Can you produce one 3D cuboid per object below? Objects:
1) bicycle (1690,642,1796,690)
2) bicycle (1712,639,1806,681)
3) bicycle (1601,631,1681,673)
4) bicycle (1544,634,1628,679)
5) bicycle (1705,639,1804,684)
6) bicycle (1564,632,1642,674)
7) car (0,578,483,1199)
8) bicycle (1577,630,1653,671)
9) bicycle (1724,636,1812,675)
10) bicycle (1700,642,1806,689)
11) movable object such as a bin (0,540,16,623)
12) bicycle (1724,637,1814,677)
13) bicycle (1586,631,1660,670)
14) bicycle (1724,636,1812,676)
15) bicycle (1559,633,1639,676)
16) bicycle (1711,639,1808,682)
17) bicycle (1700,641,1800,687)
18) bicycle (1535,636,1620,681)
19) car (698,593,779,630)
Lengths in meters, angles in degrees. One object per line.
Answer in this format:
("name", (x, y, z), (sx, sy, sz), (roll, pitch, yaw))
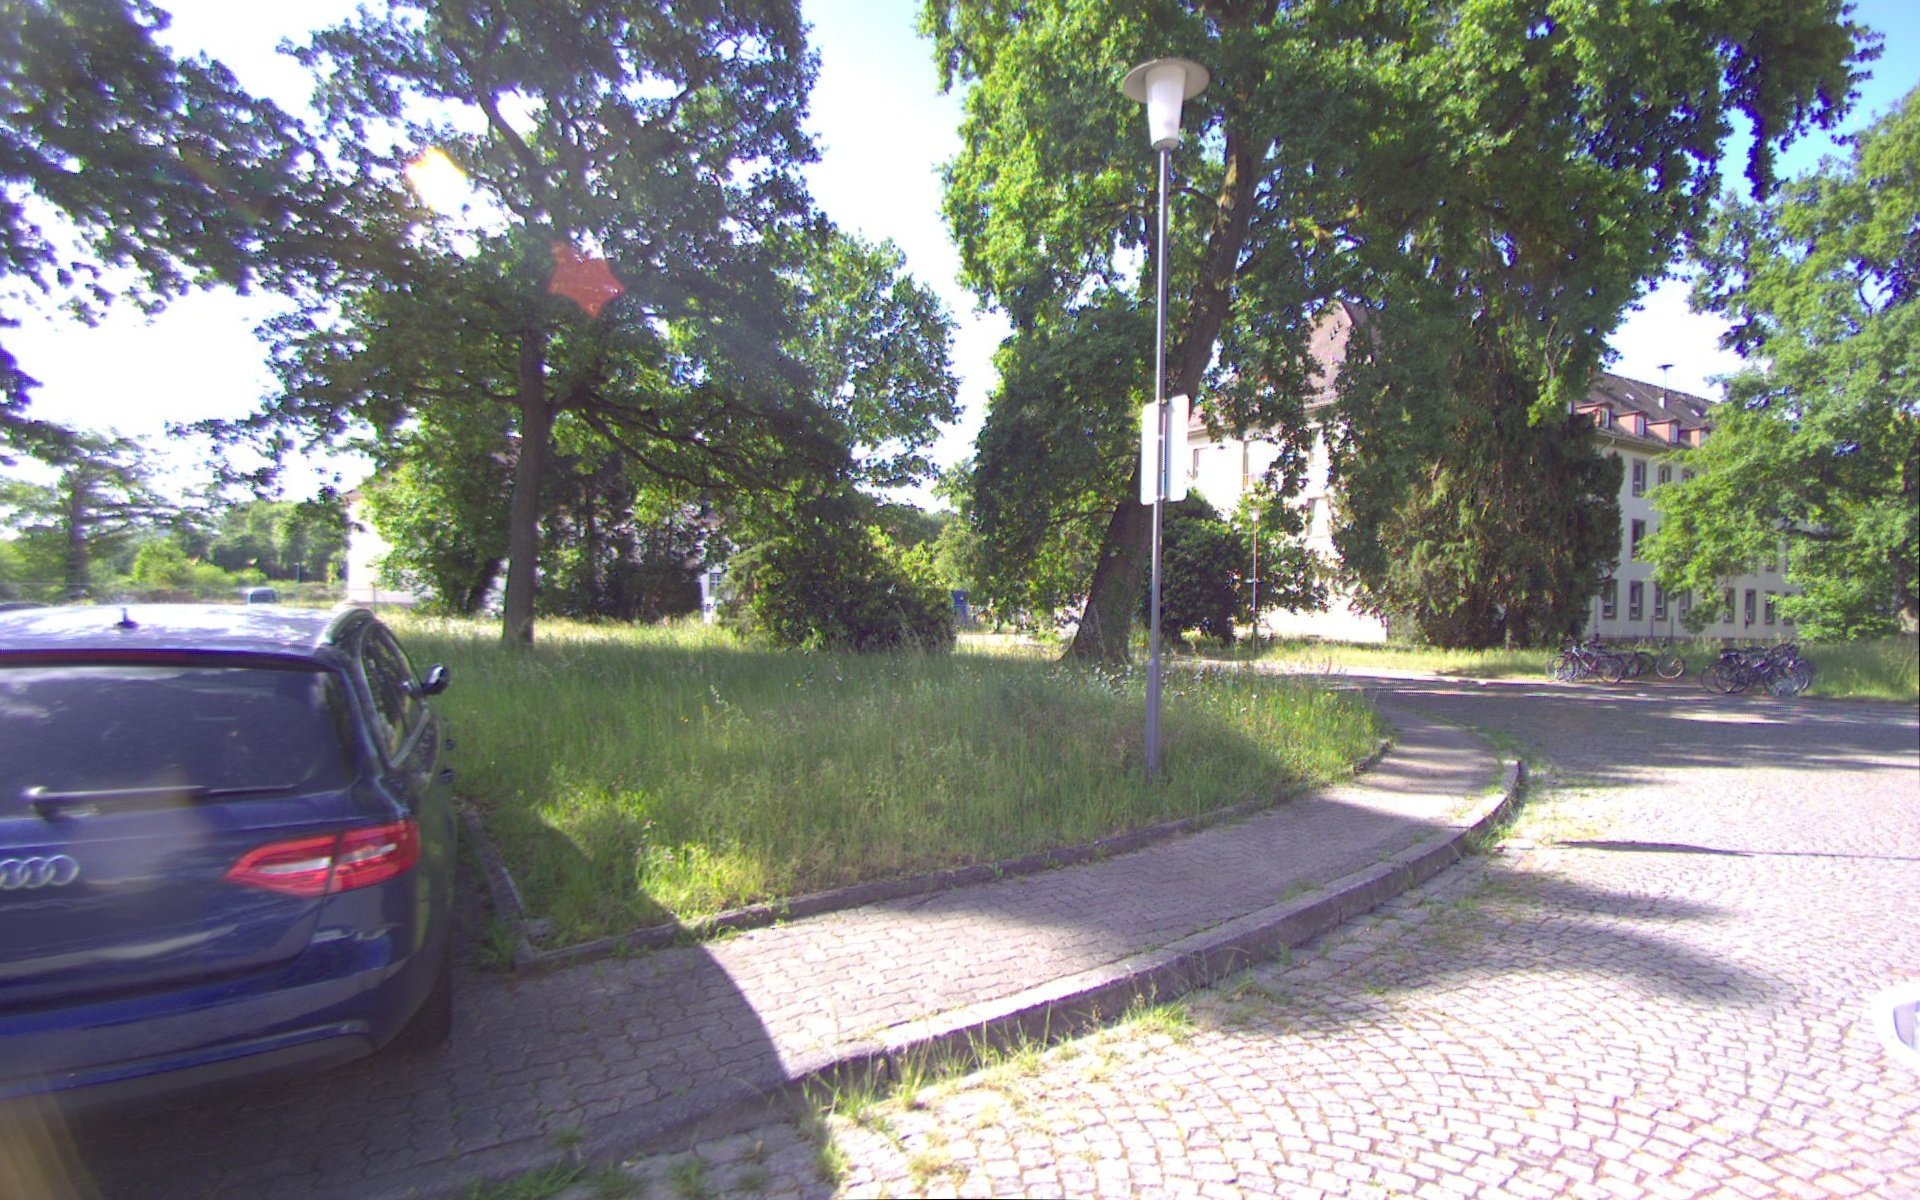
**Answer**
("bicycle", (18.207, 1.518, 23.394), (1.885, 1.072, 0.475), (-1, -2, 31))
("bicycle", (20.830, 1.548, 26.218), (1.890, 1.072, 0.474), (-1, -2, 39))
("bicycle", (20.066, 1.512, 29.618), (1.891, 1.118, 0.567), (1, 1, 41))
("bicycle", (16.933, 1.506, 27.180), (1.888, 1.117, 0.568), (0, 1, 36))
("bicycle", (19.713, 1.512, 24.962), (1.889, 1.072, 0.474), (-1, -2, 37))
("bicycle", (18.883, 1.545, 29.529), (1.886, 1.118, 0.569), (1, 1, 32))
("car", (-3.055, 0.667, 4.057), (1.896, 1.464, 4.343), (1, 0, -27))
("bicycle", (20.023, 1.529, 30.722), (1.891, 1.118, 0.567), (1, 1, 41))
("bicycle", (22.695, 1.547, 28.252), (1.890, 1.072, 0.474), (-1, -2, 39))
("bicycle", (18.669, 1.525, 23.691), (1.885, 1.072, 0.475), (-1, -2, 31))
("movable object such as a bin", (-46.754, -0.932, 44.326), (3.866, 3.780, 6.769), (1, -1, 35))
("bicycle", (22.101, 1.546, 27.490), (1.890, 1.072, 0.474), (-1, -2, 39))
("bicycle", (20.718, 1.555, 31.387), (1.888, 1.118, 0.568), (1, 1, 37))
("bicycle", (22.405, 1.537, 27.887), (1.890, 1.072, 0.474), (-1, -2, 39))
("bicycle", (18.046, 1.521, 28.404), (1.886, 1.118, 0.569), (1, 1, 32))
("bicycle", (20.289, 1.521, 25.526), (1.889, 1.072, 0.474), (-1, -2, 37))
("bicycle", (19.291, 1.550, 24.578), (1.889, 1.072, 0.474), (-1, -2, 37))
("bicycle", (16.489, 1.548, 26.836), (1.888, 1.117, 0.568), (0, 1, 36))
("car", (-15.502, 0.801, 70.419), (5.215, 2.469, 1.975), (2, -1, -30))
